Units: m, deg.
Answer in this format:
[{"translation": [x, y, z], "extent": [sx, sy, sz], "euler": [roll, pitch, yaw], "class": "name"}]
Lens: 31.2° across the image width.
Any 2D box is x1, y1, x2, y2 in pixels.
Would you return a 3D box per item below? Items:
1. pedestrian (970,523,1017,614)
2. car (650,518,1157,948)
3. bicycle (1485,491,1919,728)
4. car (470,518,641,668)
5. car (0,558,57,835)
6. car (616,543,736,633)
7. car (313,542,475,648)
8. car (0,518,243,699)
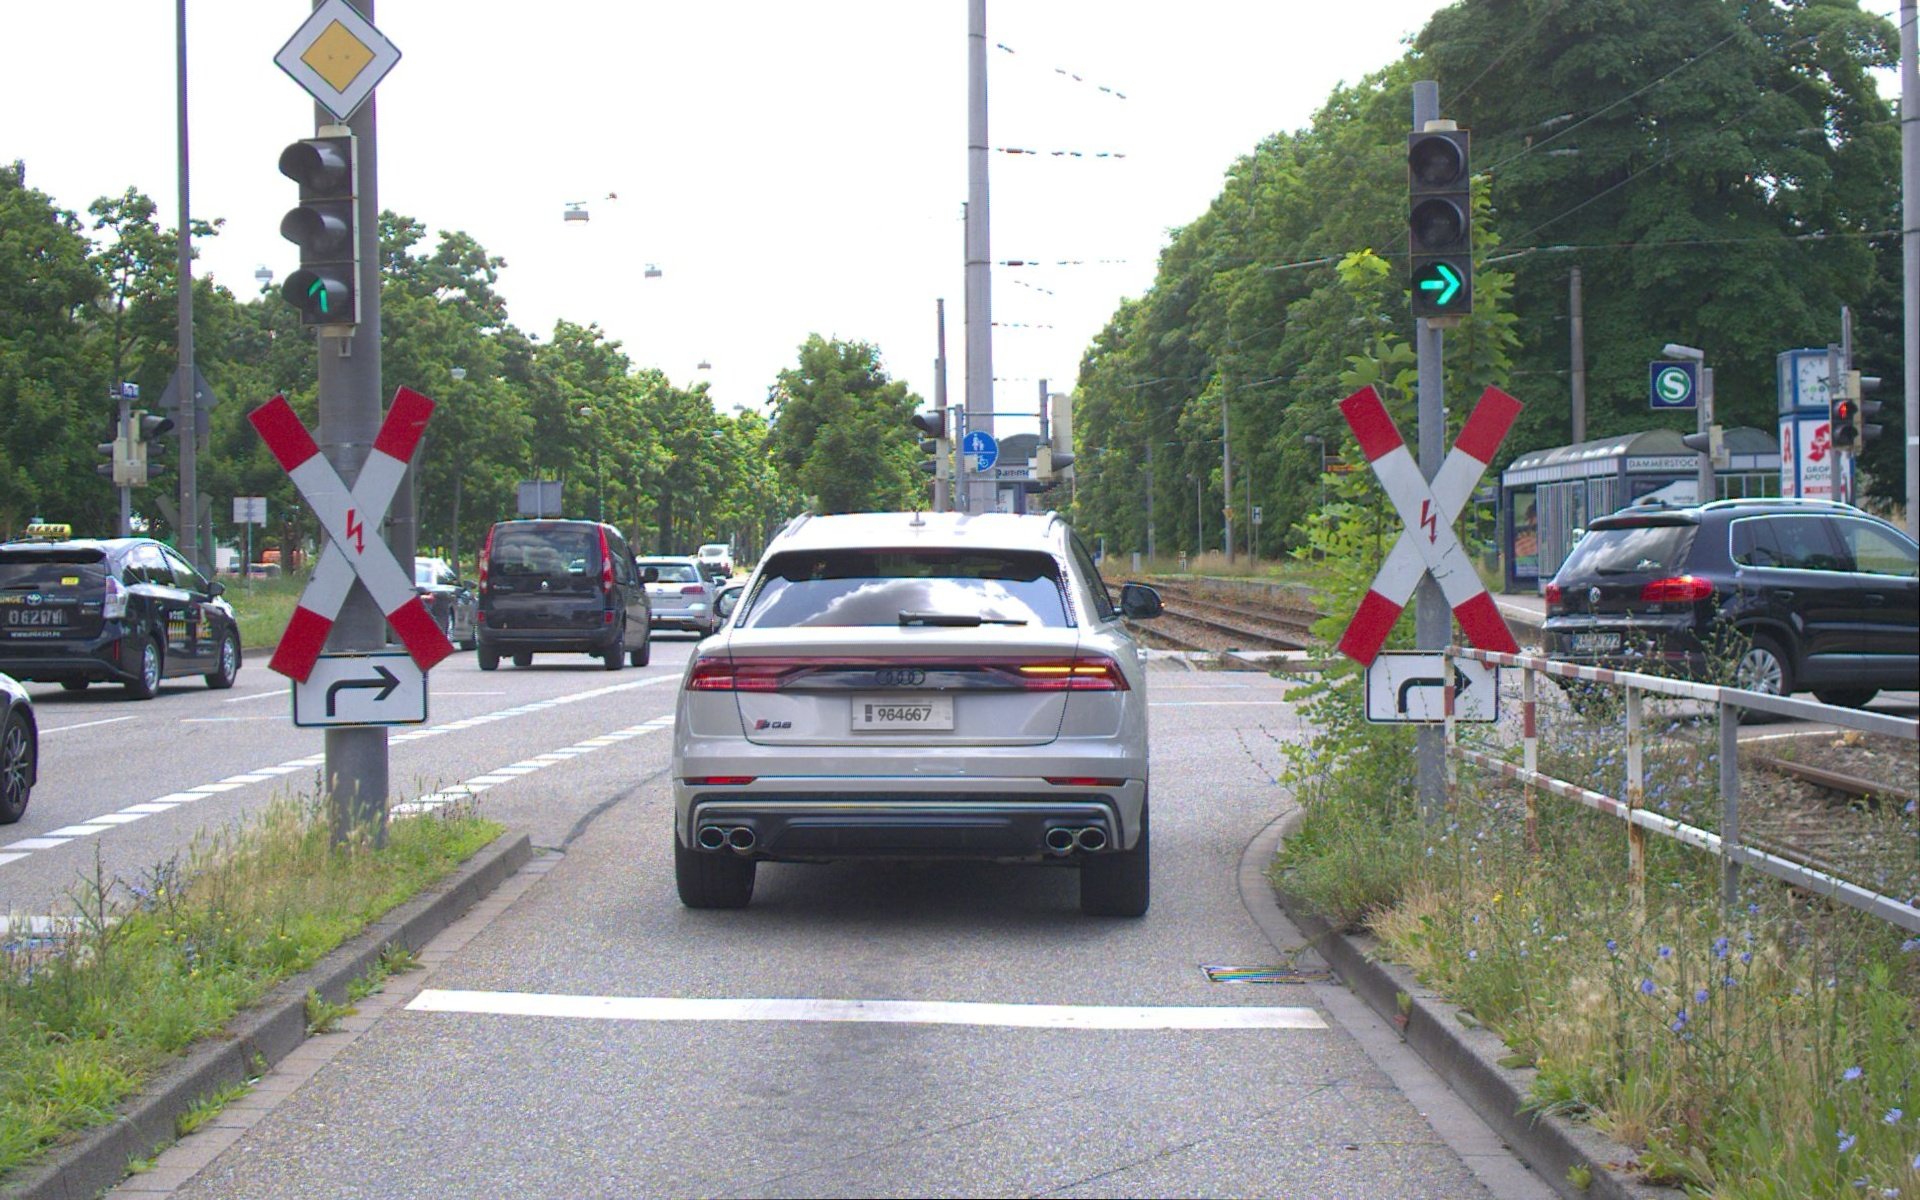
[{"translation": [0.558, -0.529, 57.545], "extent": [0.653, 1.508, 0.718], "euler": [-1, 1, -8], "class": "pedestrian"}, {"translation": [-0.199, 0.473, 15.812], "extent": [1.981, 1.678, 4.574], "euler": [0, 1, 1], "class": "car"}, {"translation": [6.246, 0.020, 26.330], "extent": [4.195, 1.669, 2.000], "euler": [-1, 1, -36], "class": "bicycle"}, {"translation": [-4.999, -0.099, 42.898], "extent": [1.759, 1.771, 3.909], "euler": [0, 1, -1], "class": "car"}, {"translation": [-5.965, 0.544, 17.084], "extent": [1.755, 1.461, 4.433], "euler": [-1, 1, 0], "class": "car"}, {"translation": [-4.975, -0.229, 60.729], "extent": [1.785, 1.520, 4.301], "euler": [0, 1, -1], "class": "car"}, {"translation": [-8.327, -0.094, 50.830], "extent": [1.864, 1.499, 4.000], "euler": [0, 1, -2], "class": "car"}, {"translation": [-8.529, 0.053, 34.005], "extent": [1.786, 1.662, 4.340], "euler": [0, 1, 2], "class": "car"}]
